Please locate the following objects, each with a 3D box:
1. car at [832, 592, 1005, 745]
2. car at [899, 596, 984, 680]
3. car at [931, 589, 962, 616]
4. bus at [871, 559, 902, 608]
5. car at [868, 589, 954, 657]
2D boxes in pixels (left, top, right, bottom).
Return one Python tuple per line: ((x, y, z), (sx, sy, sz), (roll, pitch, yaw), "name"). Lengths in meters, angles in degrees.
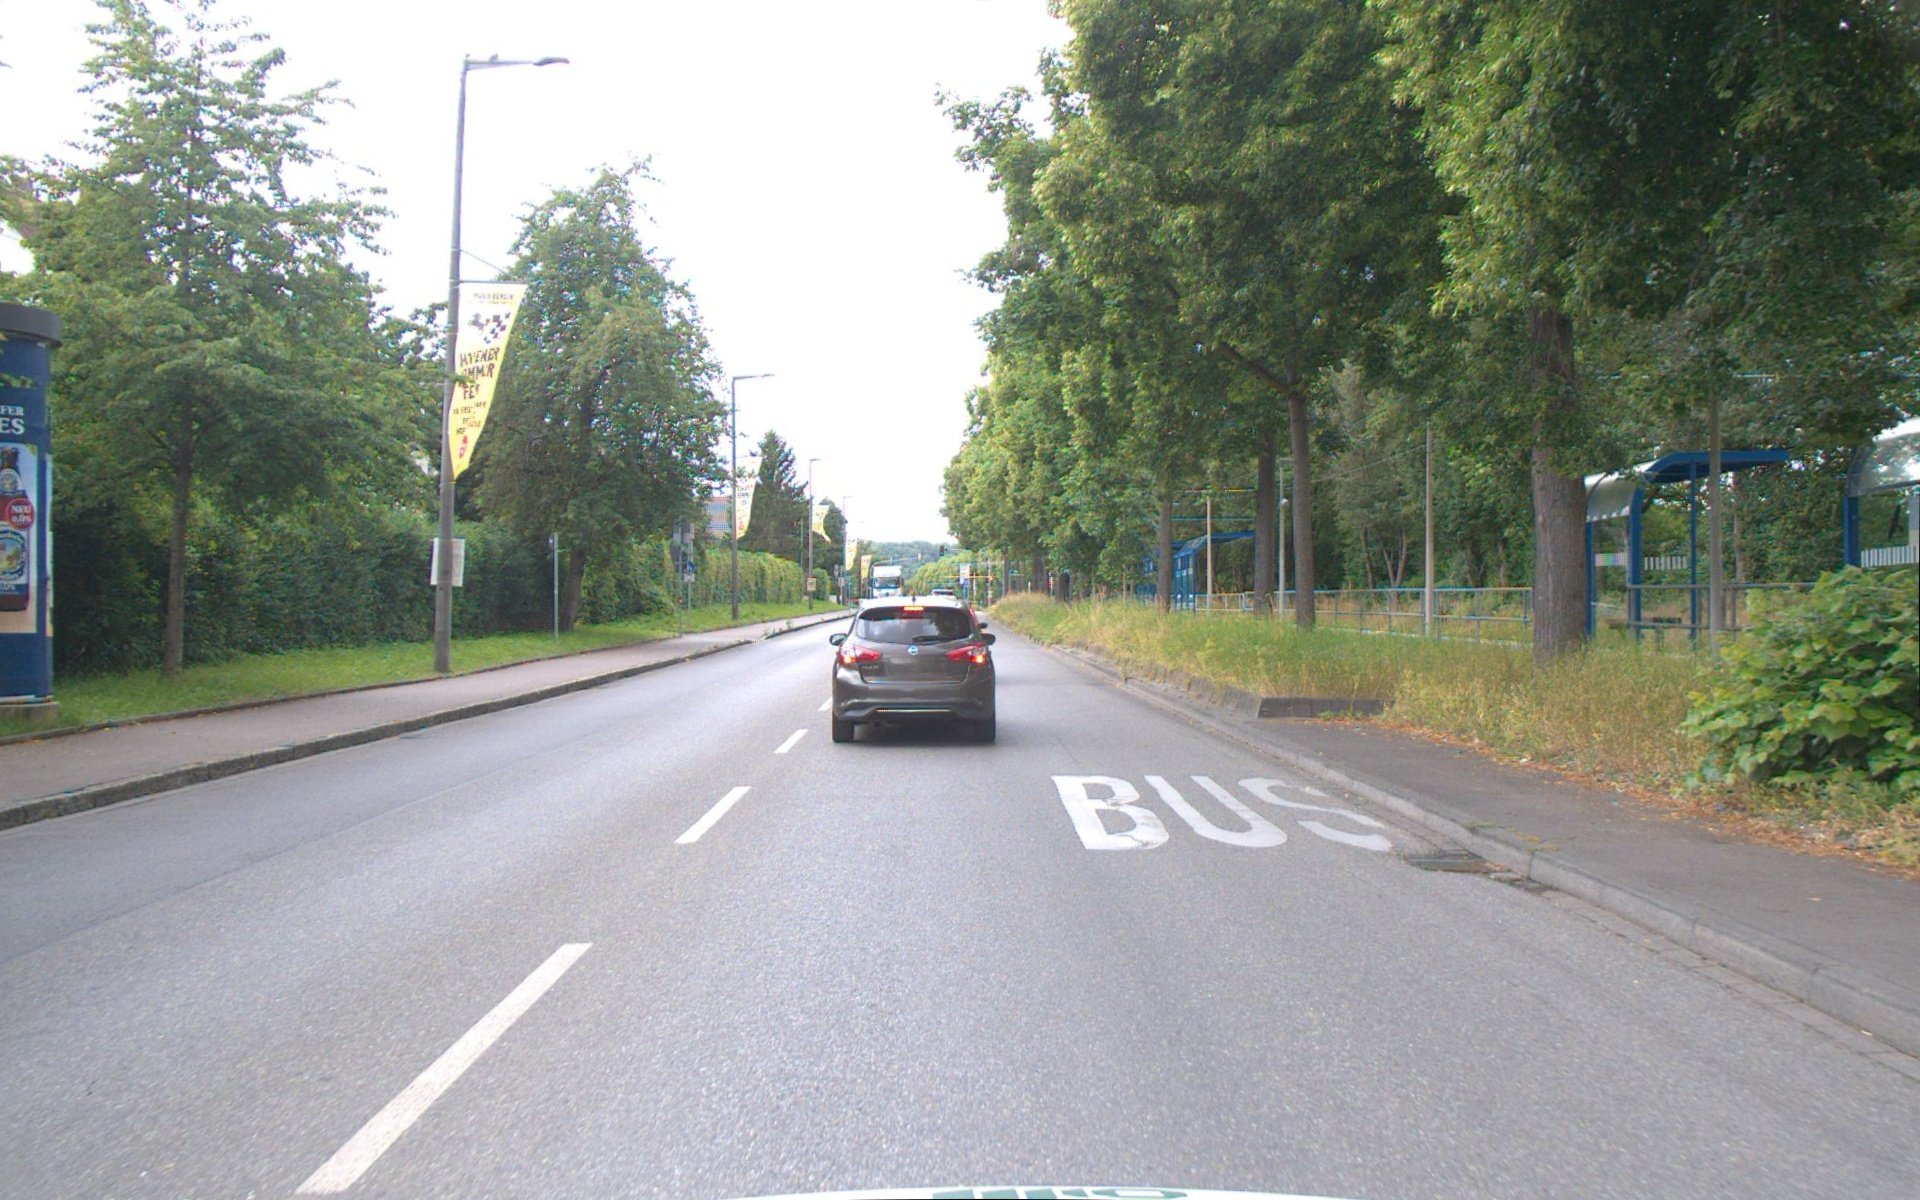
((-0.441, 0.709, 18.611), (1.747, 1.533, 3.695), (0, 0, -1), "car")
((-0.359, 0.671, 30.787), (1.471, 1.466, 3.540), (1, 0, -1), "car")
((-0.761, 0.131, 92.711), (1.657, 1.466, 3.540), (1, 0, -1), "car")
((-6.498, -1.427, 146.535), (2.437, 4.096, 10.215), (0, 0, -1), "bus")
((-1.154, 0.574, 40.490), (1.953, 1.512, 3.999), (2, -1, -1), "car")
